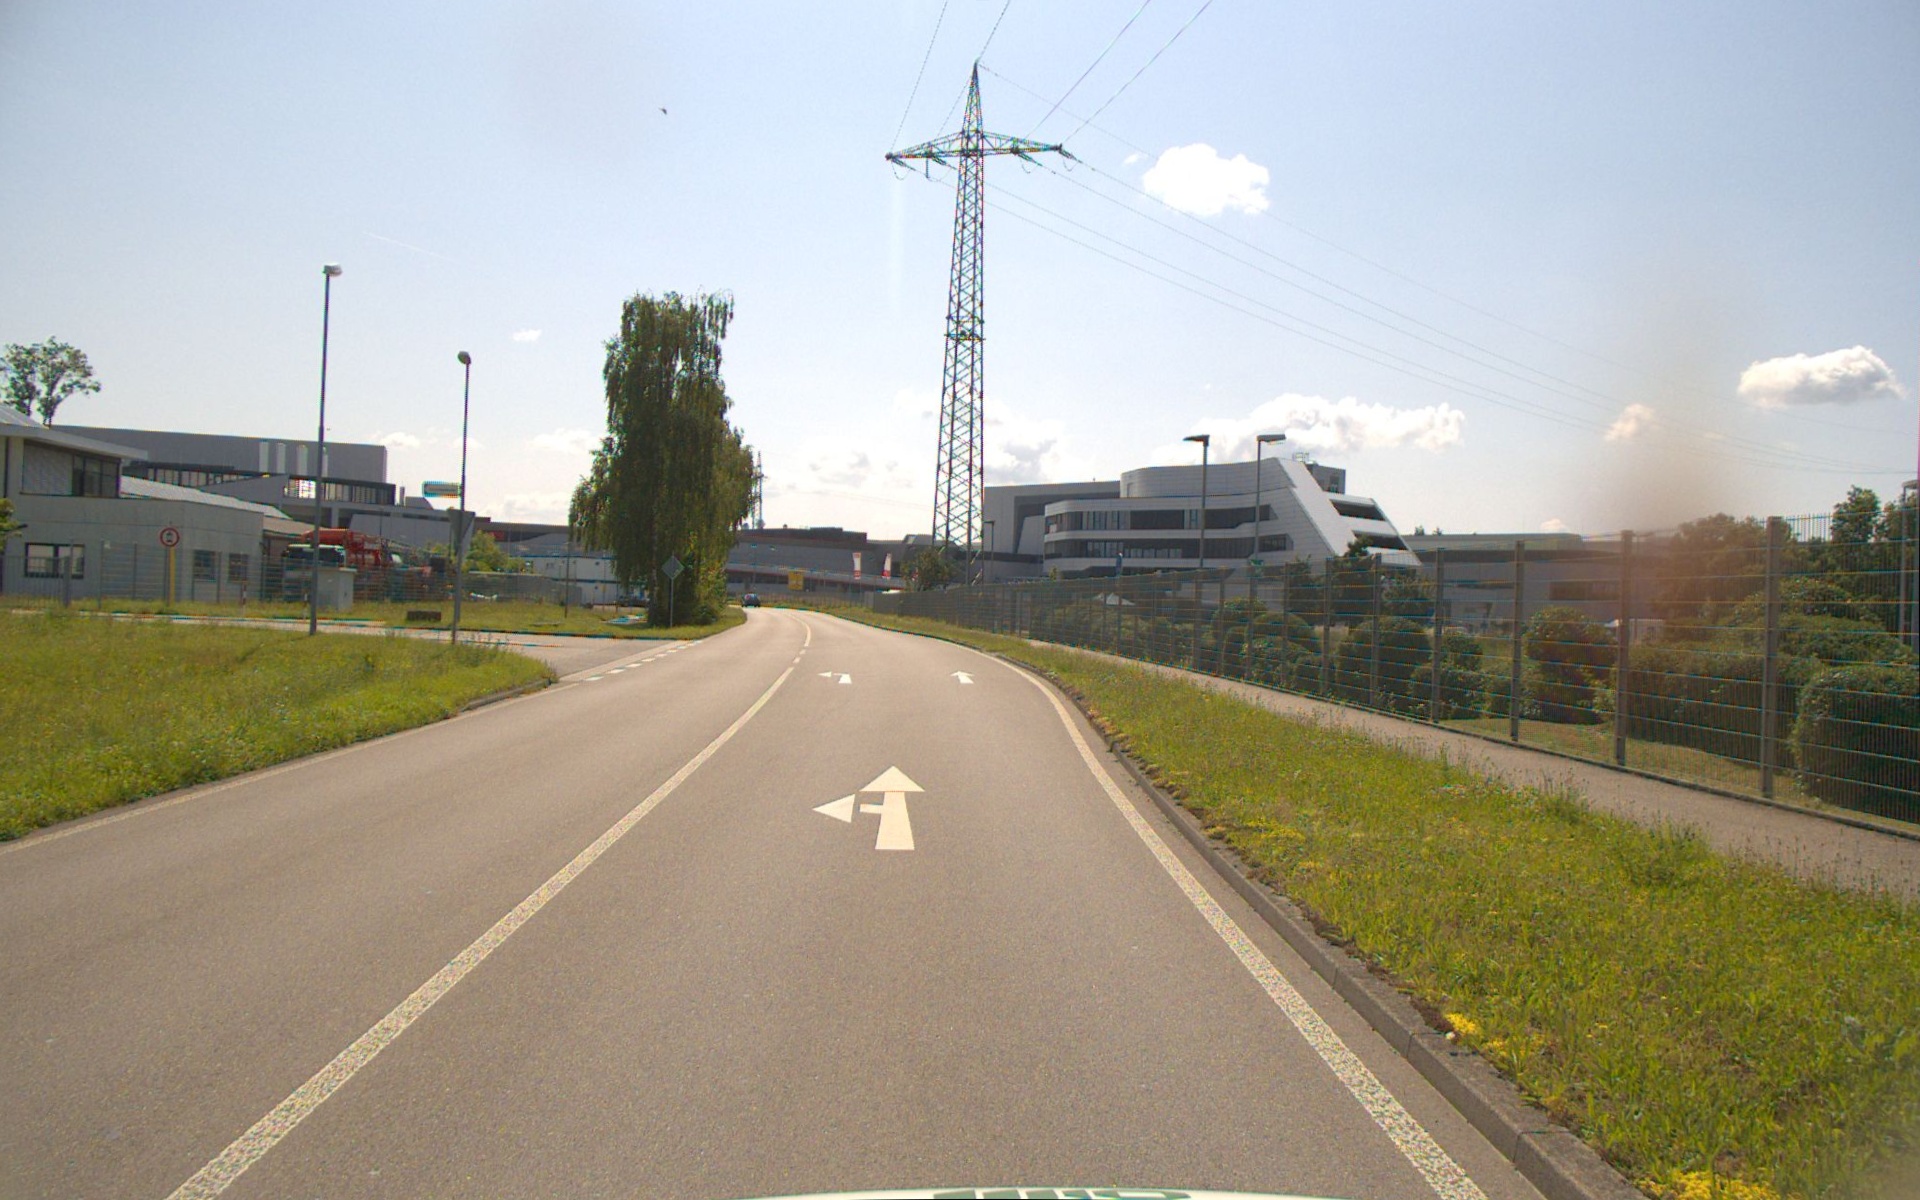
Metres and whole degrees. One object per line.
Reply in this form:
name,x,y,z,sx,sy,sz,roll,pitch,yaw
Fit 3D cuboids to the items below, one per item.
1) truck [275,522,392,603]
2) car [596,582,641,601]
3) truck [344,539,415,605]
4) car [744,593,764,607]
truck,-31.004,-1.759,82.318,2.700,3.621,10.254,2,0,-6
car,-32.170,-0.804,155.952,3.912,1.601,1.996,2,0,-8
truck,-32.532,-1.531,92.879,2.388,3.512,5.435,2,0,-6
car,-24.359,-0.042,195.384,1.972,1.534,3.997,3,0,-3
